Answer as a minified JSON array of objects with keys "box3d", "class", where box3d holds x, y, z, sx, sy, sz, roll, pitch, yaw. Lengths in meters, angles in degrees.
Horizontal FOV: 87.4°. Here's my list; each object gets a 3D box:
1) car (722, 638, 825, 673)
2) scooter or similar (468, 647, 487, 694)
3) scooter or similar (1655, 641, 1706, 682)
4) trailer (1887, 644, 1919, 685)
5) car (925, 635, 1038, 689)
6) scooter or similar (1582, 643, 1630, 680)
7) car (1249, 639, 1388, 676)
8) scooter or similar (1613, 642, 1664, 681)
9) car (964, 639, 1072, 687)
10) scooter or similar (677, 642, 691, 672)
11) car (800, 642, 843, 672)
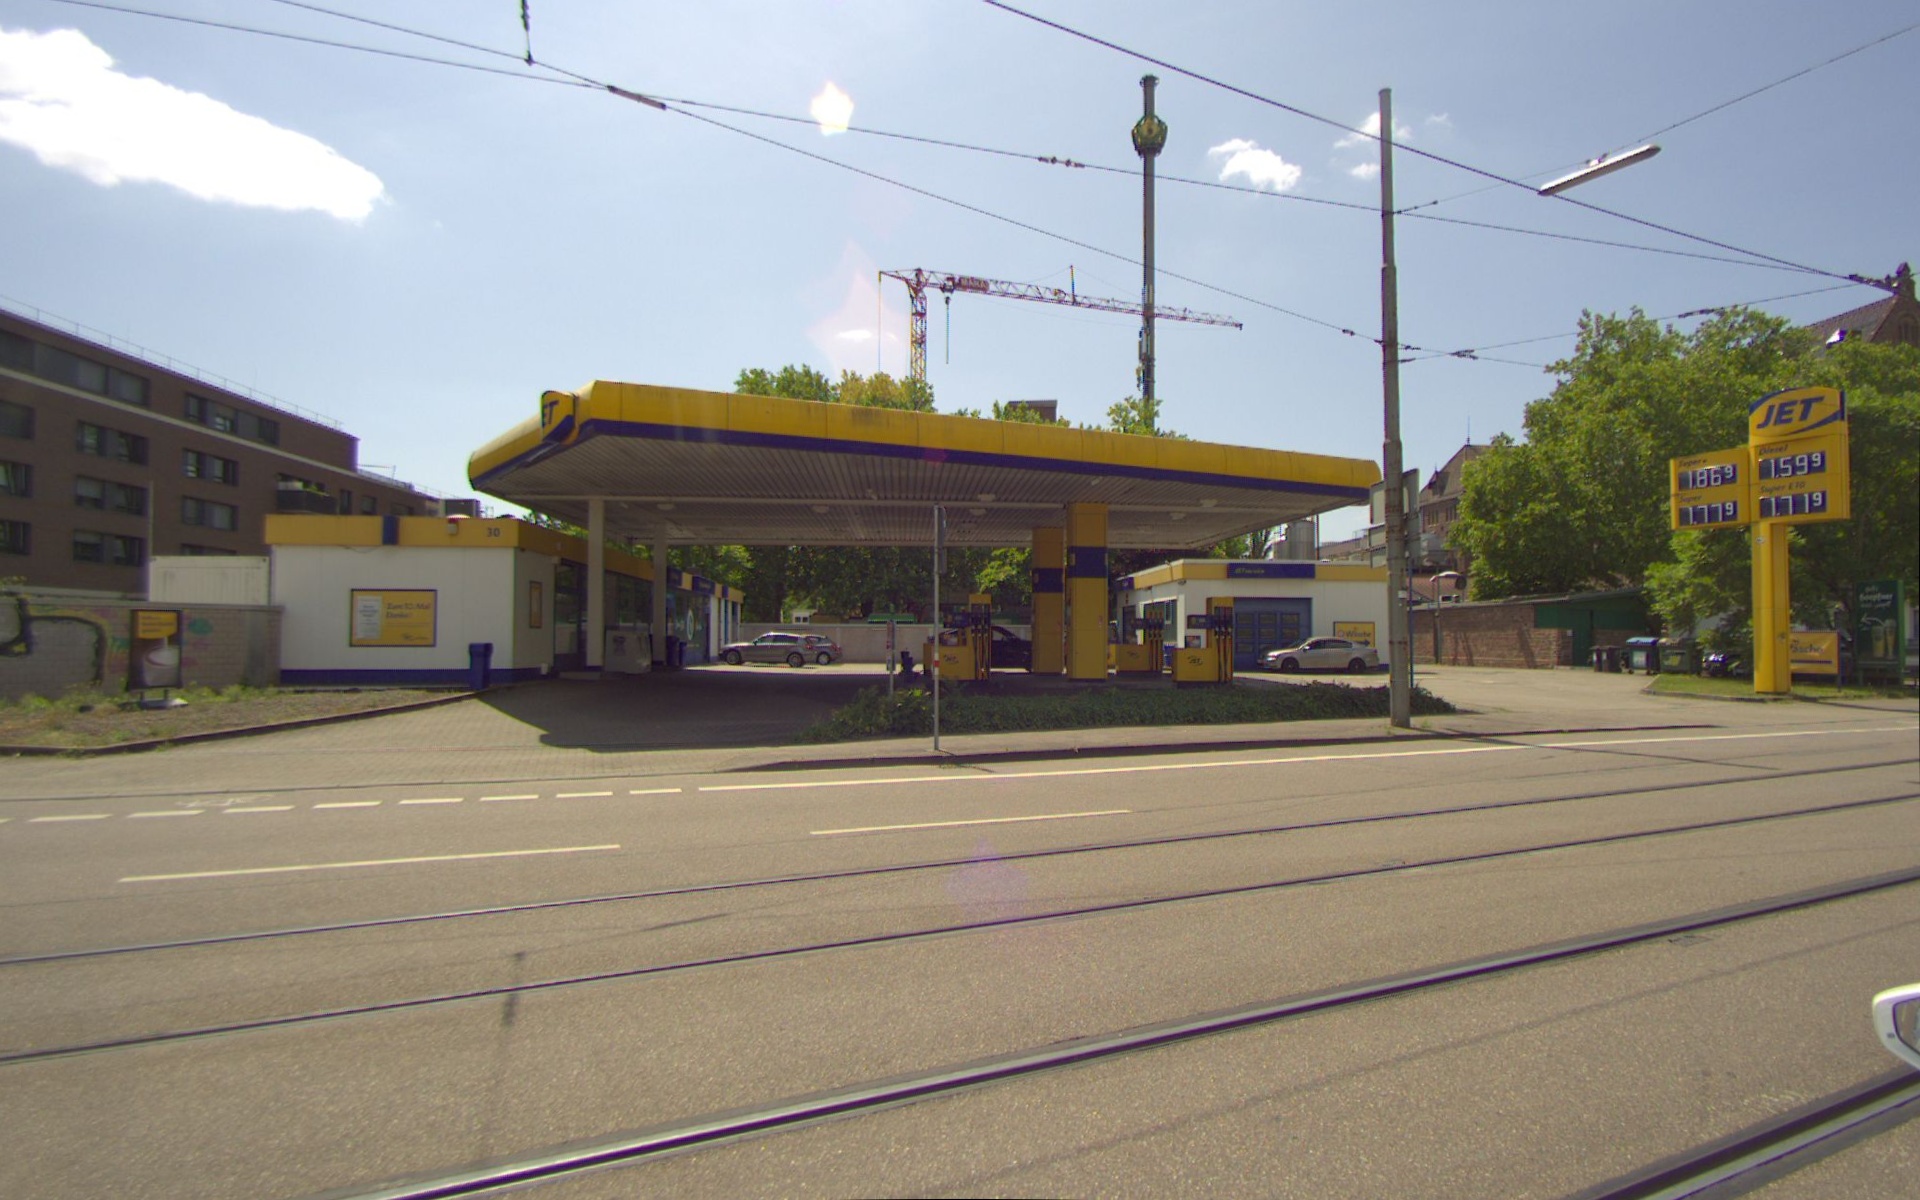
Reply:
[{"box3d":[-7.911,2.378,42.957,4.147,1.364,1.381,2,-4,-4],"class":"car"},{"box3d":[-9.917,1.441,20.668,0.322,0.942,0.404,2,-2,-25],"class":"scooter or similar"},{"box3d":[26.782,2.269,37.337,1.044,1.485,1.170,3,-3,-22],"class":"scooter or similar"},{"box3d":[37.638,2.502,38.586,1.312,1.546,2.718,3,-2,-26],"class":"trailer"},{"box3d":[0.700,2.113,33.799,3.697,1.724,1.604,1,-5,-3],"class":"car"},{"box3d":[26.568,2.534,41.314,1.042,1.485,1.314,2,-3,-16],"class":"scooter or similar"},{"box3d":[14.233,2.288,40.023,4.913,1.383,1.840,1,-3,-5],"class":"car"},{"box3d":[26.417,2.391,39.125,1.042,1.485,1.314,2,-3,-16],"class":"scooter or similar"},{"box3d":[2.047,2.260,35.860,3.718,1.660,1.390,1,-4,-4],"class":"car"},{"box3d":[-10.088,2.098,36.719,0.414,1.074,0.440,1,-4,-9],"class":"scooter or similar"},{"box3d":[-6.581,2.730,47.762,1.934,1.387,1.019,2,-5,-11],"class":"car"}]
